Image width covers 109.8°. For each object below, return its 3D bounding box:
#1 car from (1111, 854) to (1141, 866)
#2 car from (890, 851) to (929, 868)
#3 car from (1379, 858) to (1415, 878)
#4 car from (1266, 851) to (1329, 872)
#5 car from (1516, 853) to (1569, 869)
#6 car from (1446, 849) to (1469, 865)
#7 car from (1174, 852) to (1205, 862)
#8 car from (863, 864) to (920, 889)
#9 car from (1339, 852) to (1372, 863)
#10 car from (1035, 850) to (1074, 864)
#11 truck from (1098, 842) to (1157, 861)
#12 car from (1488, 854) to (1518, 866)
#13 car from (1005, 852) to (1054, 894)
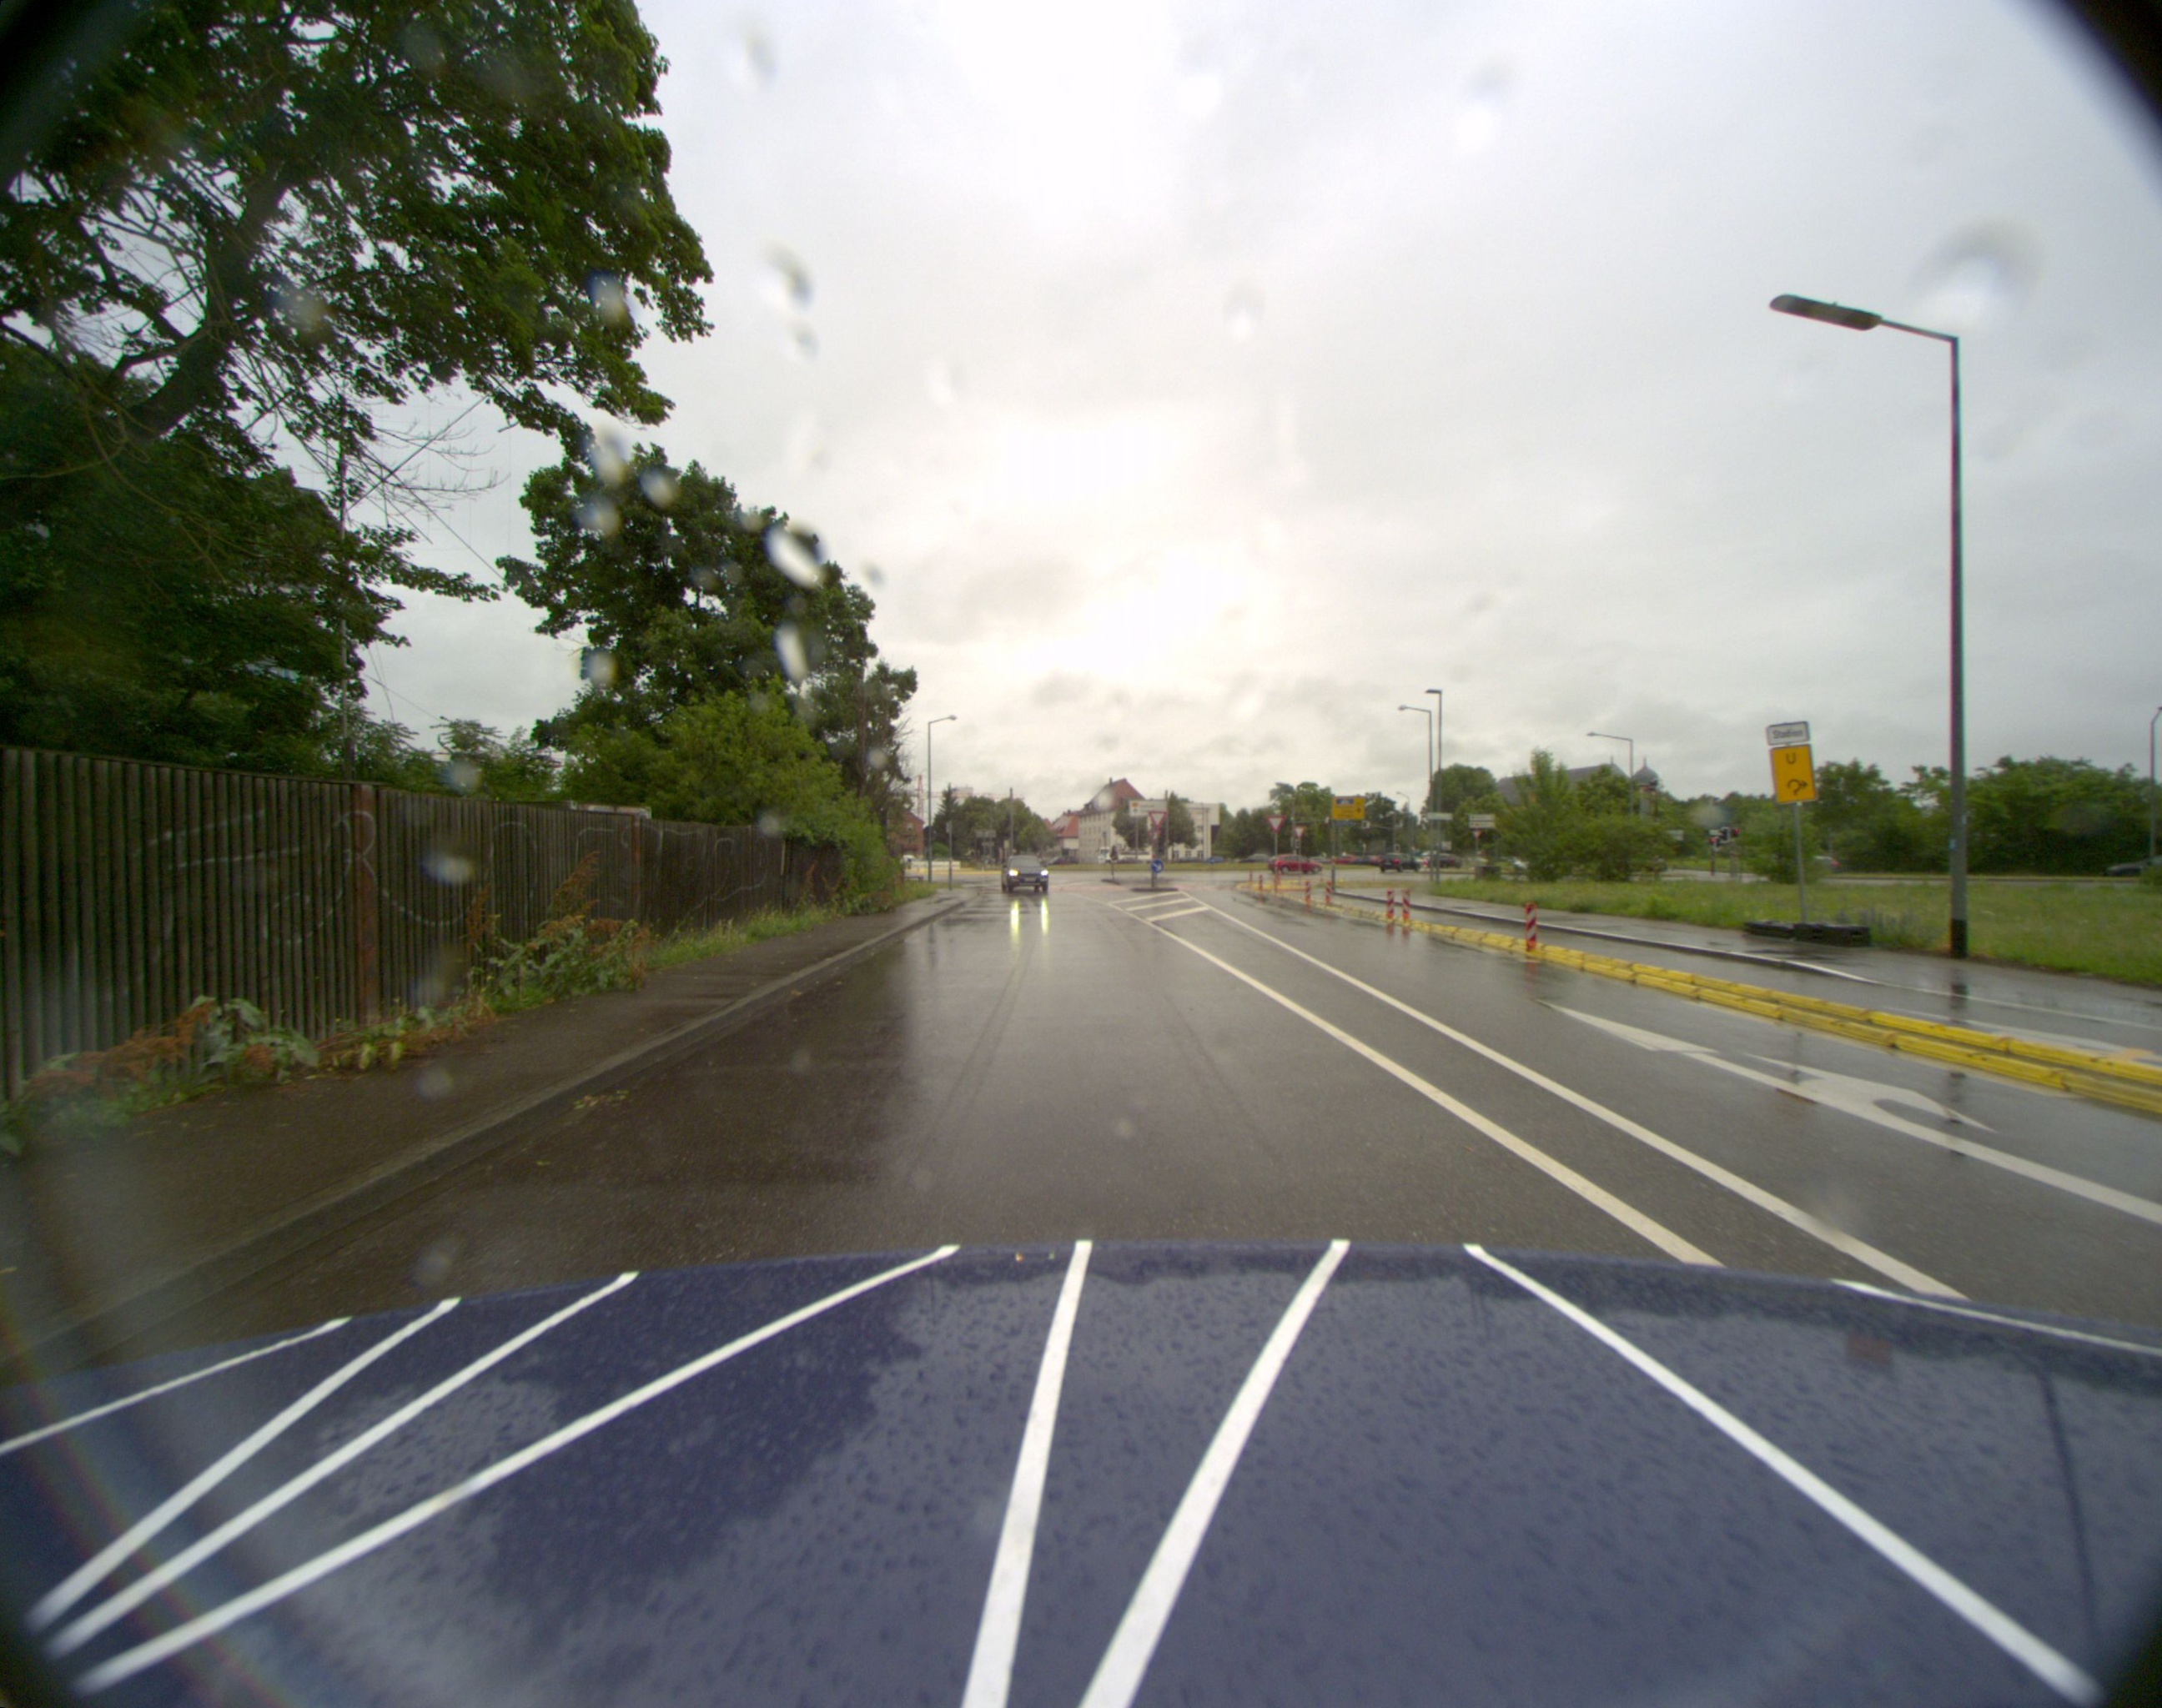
[{"bbox_3d":[6.353,0.815,107.194,3.999,1.639,1.787,-1,3,-6],"label":"car"},{"bbox_3d":[-30.789,0.935,136.223,6.415,2.923,2.359,0,3,16],"label":"car"},{"bbox_3d":[26.464,1.130,63.556,1.784,1.509,4.340,0,1,37],"label":"car"},{"bbox_3d":[16.707,0.590,58.759,4.315,1.451,1.787,-2,1,-10],"label":"car"},{"bbox_3d":[44.864,0.645,73.934,1.634,1.368,4.239,-2,3,-25],"label":"car"},{"bbox_3d":[43.476,0.329,87.842,1.785,1.639,4.392,0,2,18],"label":"car"},{"bbox_3d":[15.095,0.444,105.698,3.993,1.441,1.849,0,0,13],"label":"car"},{"bbox_3d":[-15.235,1.798,60.996,4.370,1.737,1.921,1,3,32],"label":"car"},{"bbox_3d":[36.826,0.427,101.868,3.993,1.441,1.849,0,0,13],"label":"car"},{"bbox_3d":[-3.593,0.388,103.197,4.870,1.734,1.774,-1,3,-20],"label":"car"},{"bbox_3d":[7.044,-0.335,115.095,8.794,2.696,1.998,-1,3,-4],"label":"truck"},{"bbox_3d":[51.693,0.741,93.142,3.076,1.334,1.324,1,3,27],"label":"car"},{"bbox_3d":[-2.381,0.841,36.244,1.916,1.737,4.381,0,2,2],"label":"car"}]
